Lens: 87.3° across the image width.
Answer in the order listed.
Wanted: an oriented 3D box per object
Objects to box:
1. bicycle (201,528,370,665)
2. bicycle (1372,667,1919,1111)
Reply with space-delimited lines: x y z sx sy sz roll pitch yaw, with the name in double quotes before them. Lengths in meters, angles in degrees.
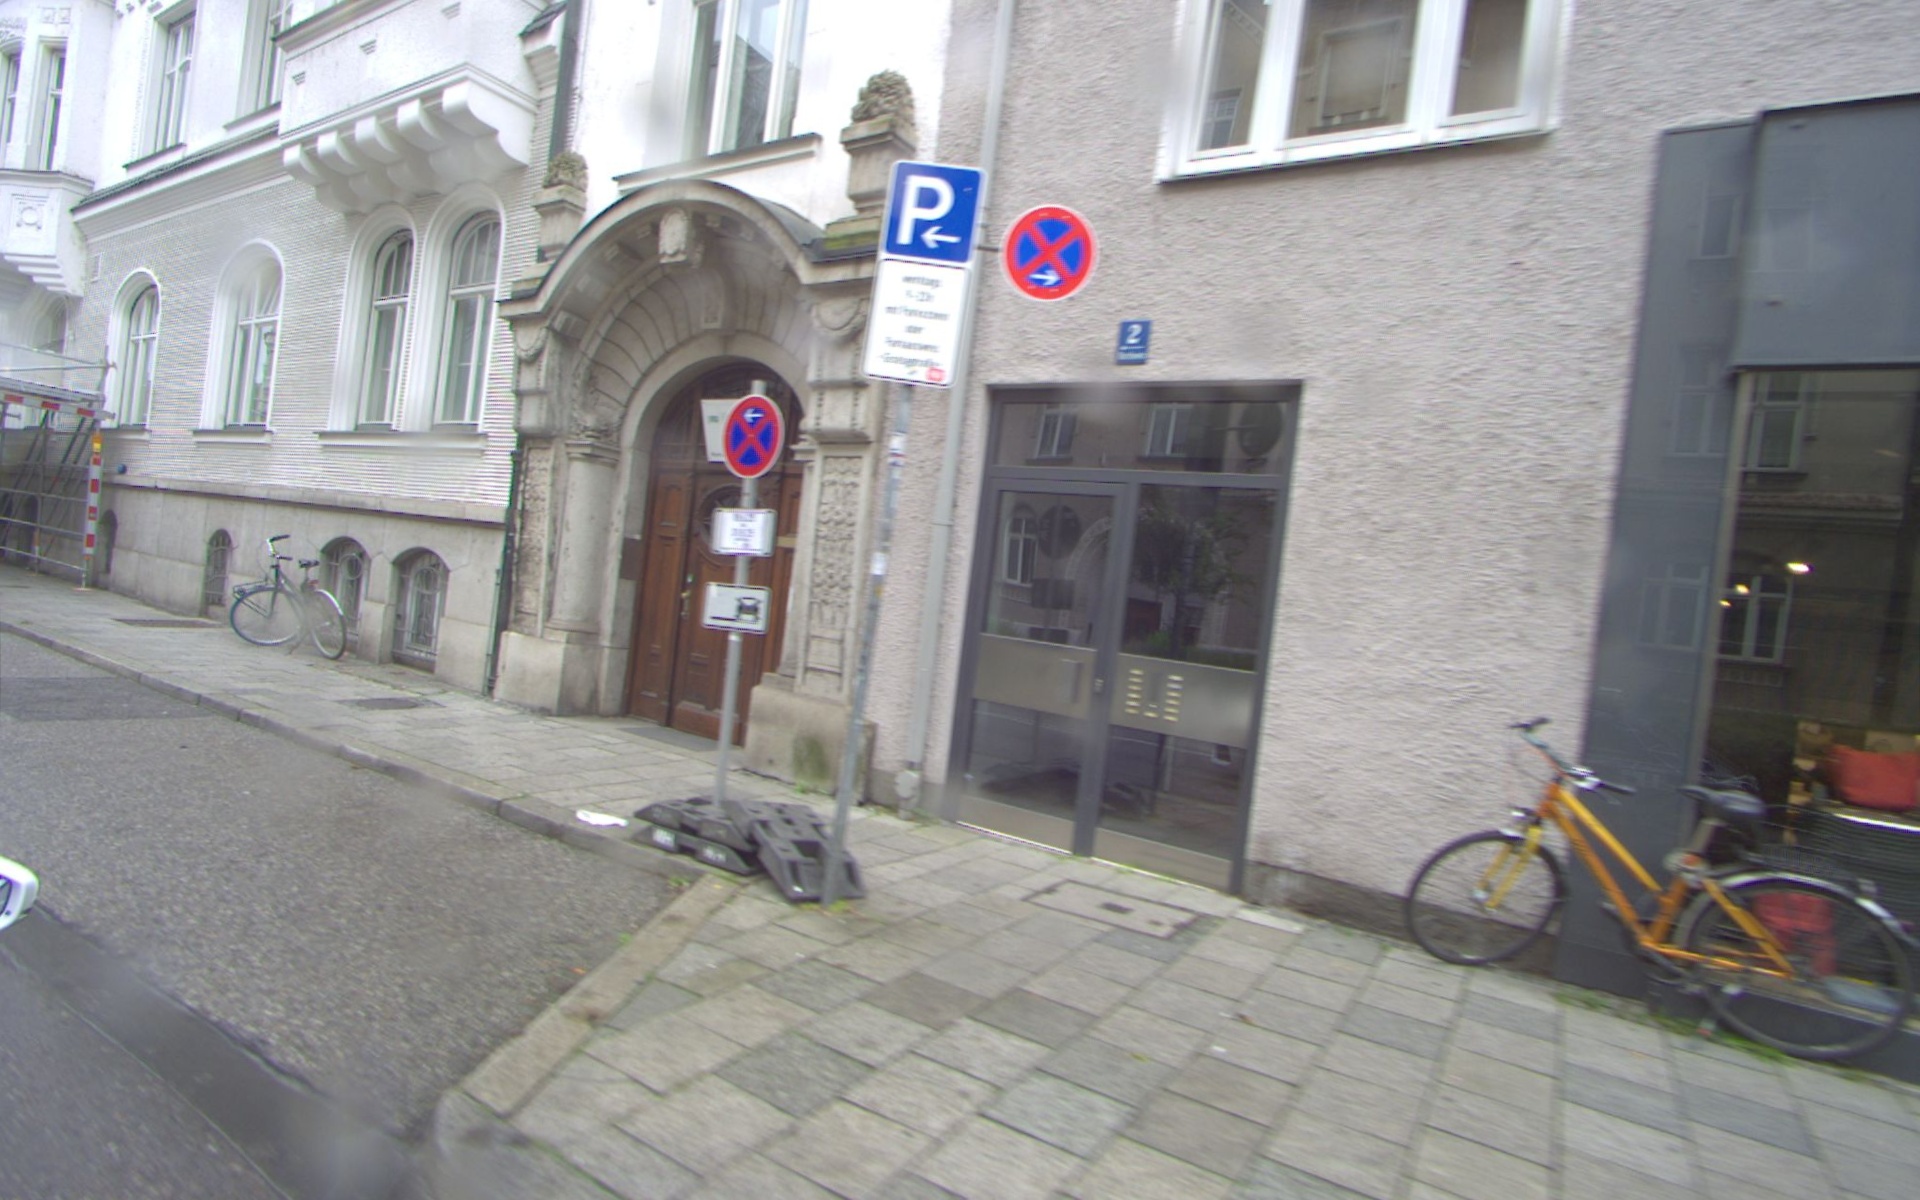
"bicycle" -7.113 -0.061 10.584 1.889 1.223 0.660 7 4 29
"bicycle" 2.746 1.040 4.118 1.790 1.278 0.512 7 4 32
